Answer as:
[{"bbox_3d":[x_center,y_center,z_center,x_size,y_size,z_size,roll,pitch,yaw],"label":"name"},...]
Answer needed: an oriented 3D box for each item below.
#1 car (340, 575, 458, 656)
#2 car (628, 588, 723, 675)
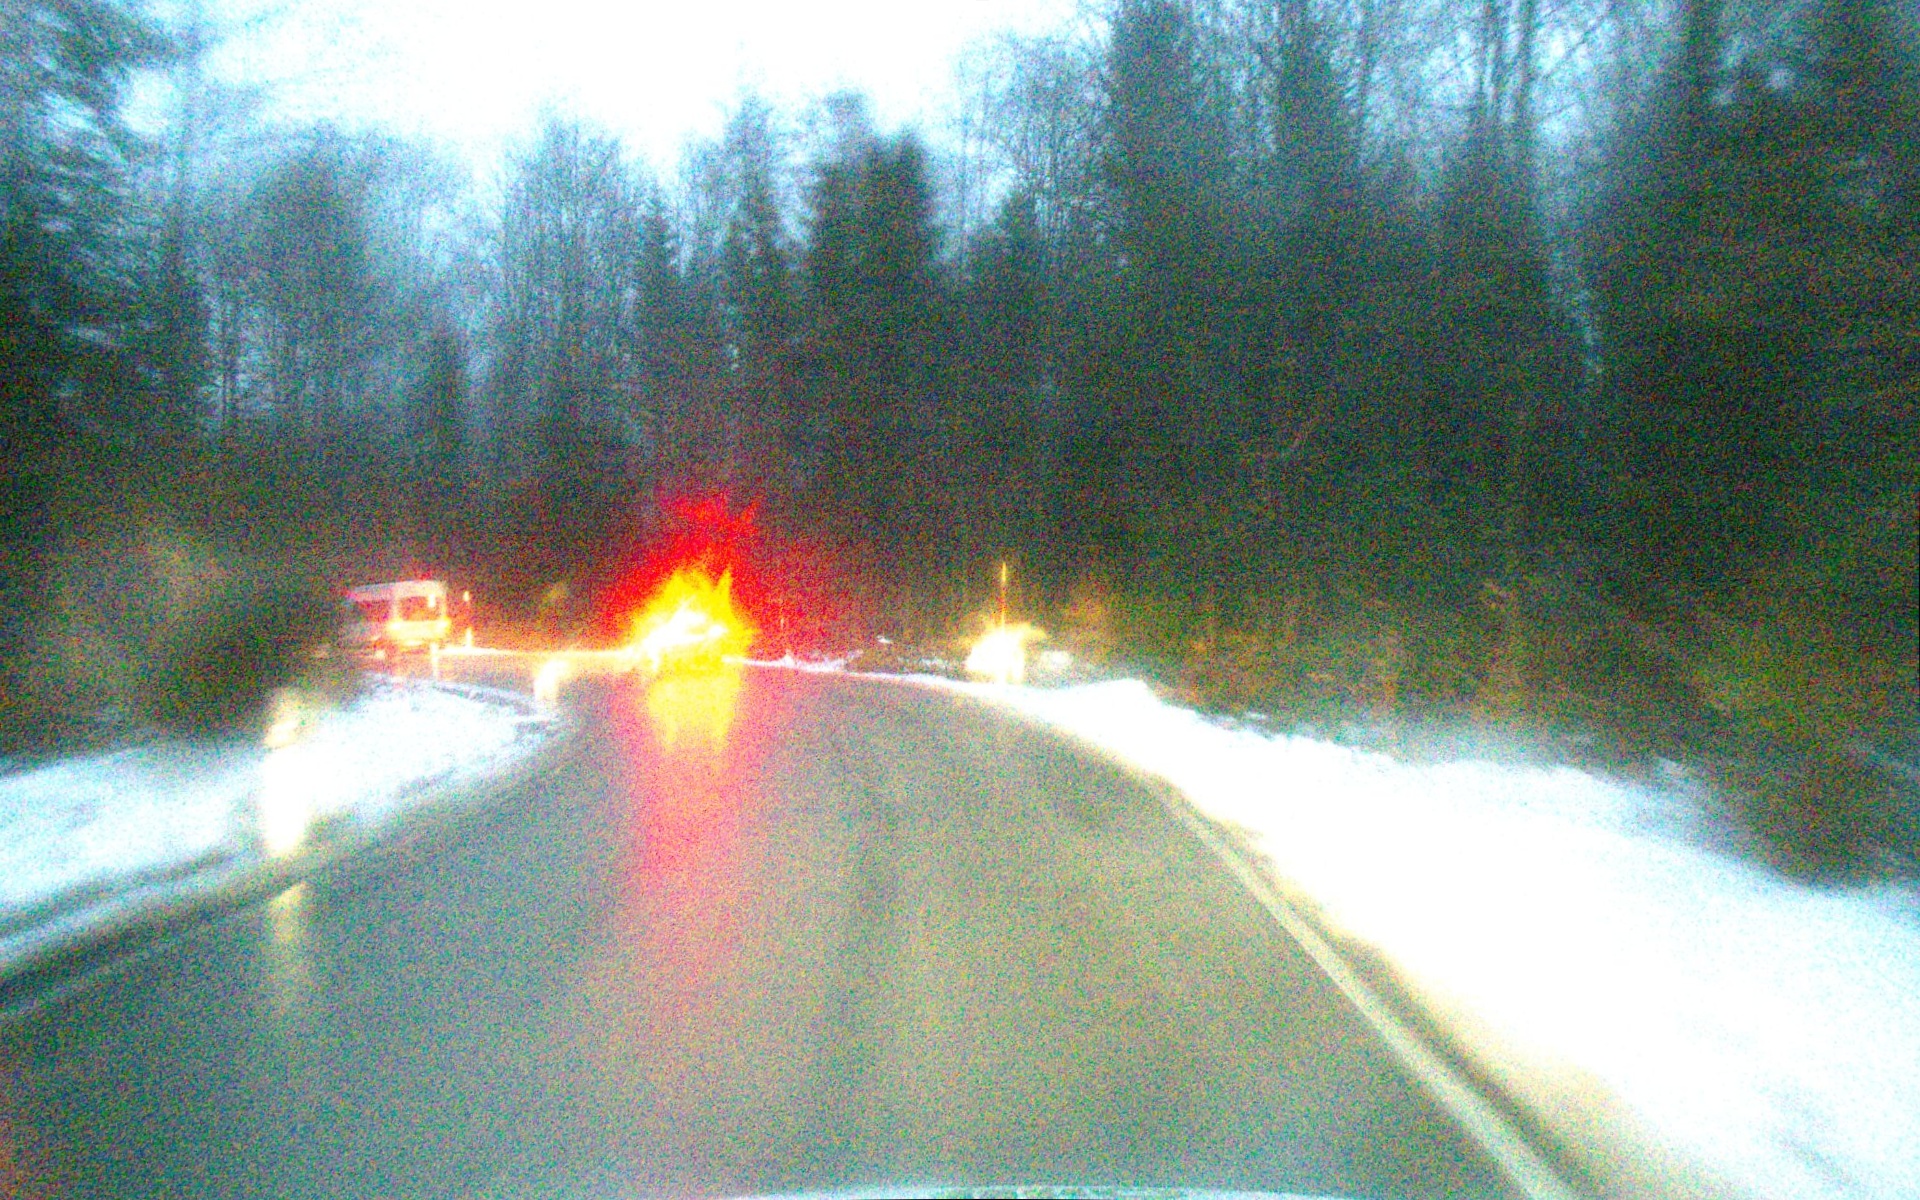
[{"bbox_3d":[-19.760,0.551,58.159,2.239,2.691,4.933,-2,0,-40],"label":"car"},{"bbox_3d":[-7.233,0.786,41.830,1.961,2.088,3.982,0,-1,-16],"label":"car"}]
